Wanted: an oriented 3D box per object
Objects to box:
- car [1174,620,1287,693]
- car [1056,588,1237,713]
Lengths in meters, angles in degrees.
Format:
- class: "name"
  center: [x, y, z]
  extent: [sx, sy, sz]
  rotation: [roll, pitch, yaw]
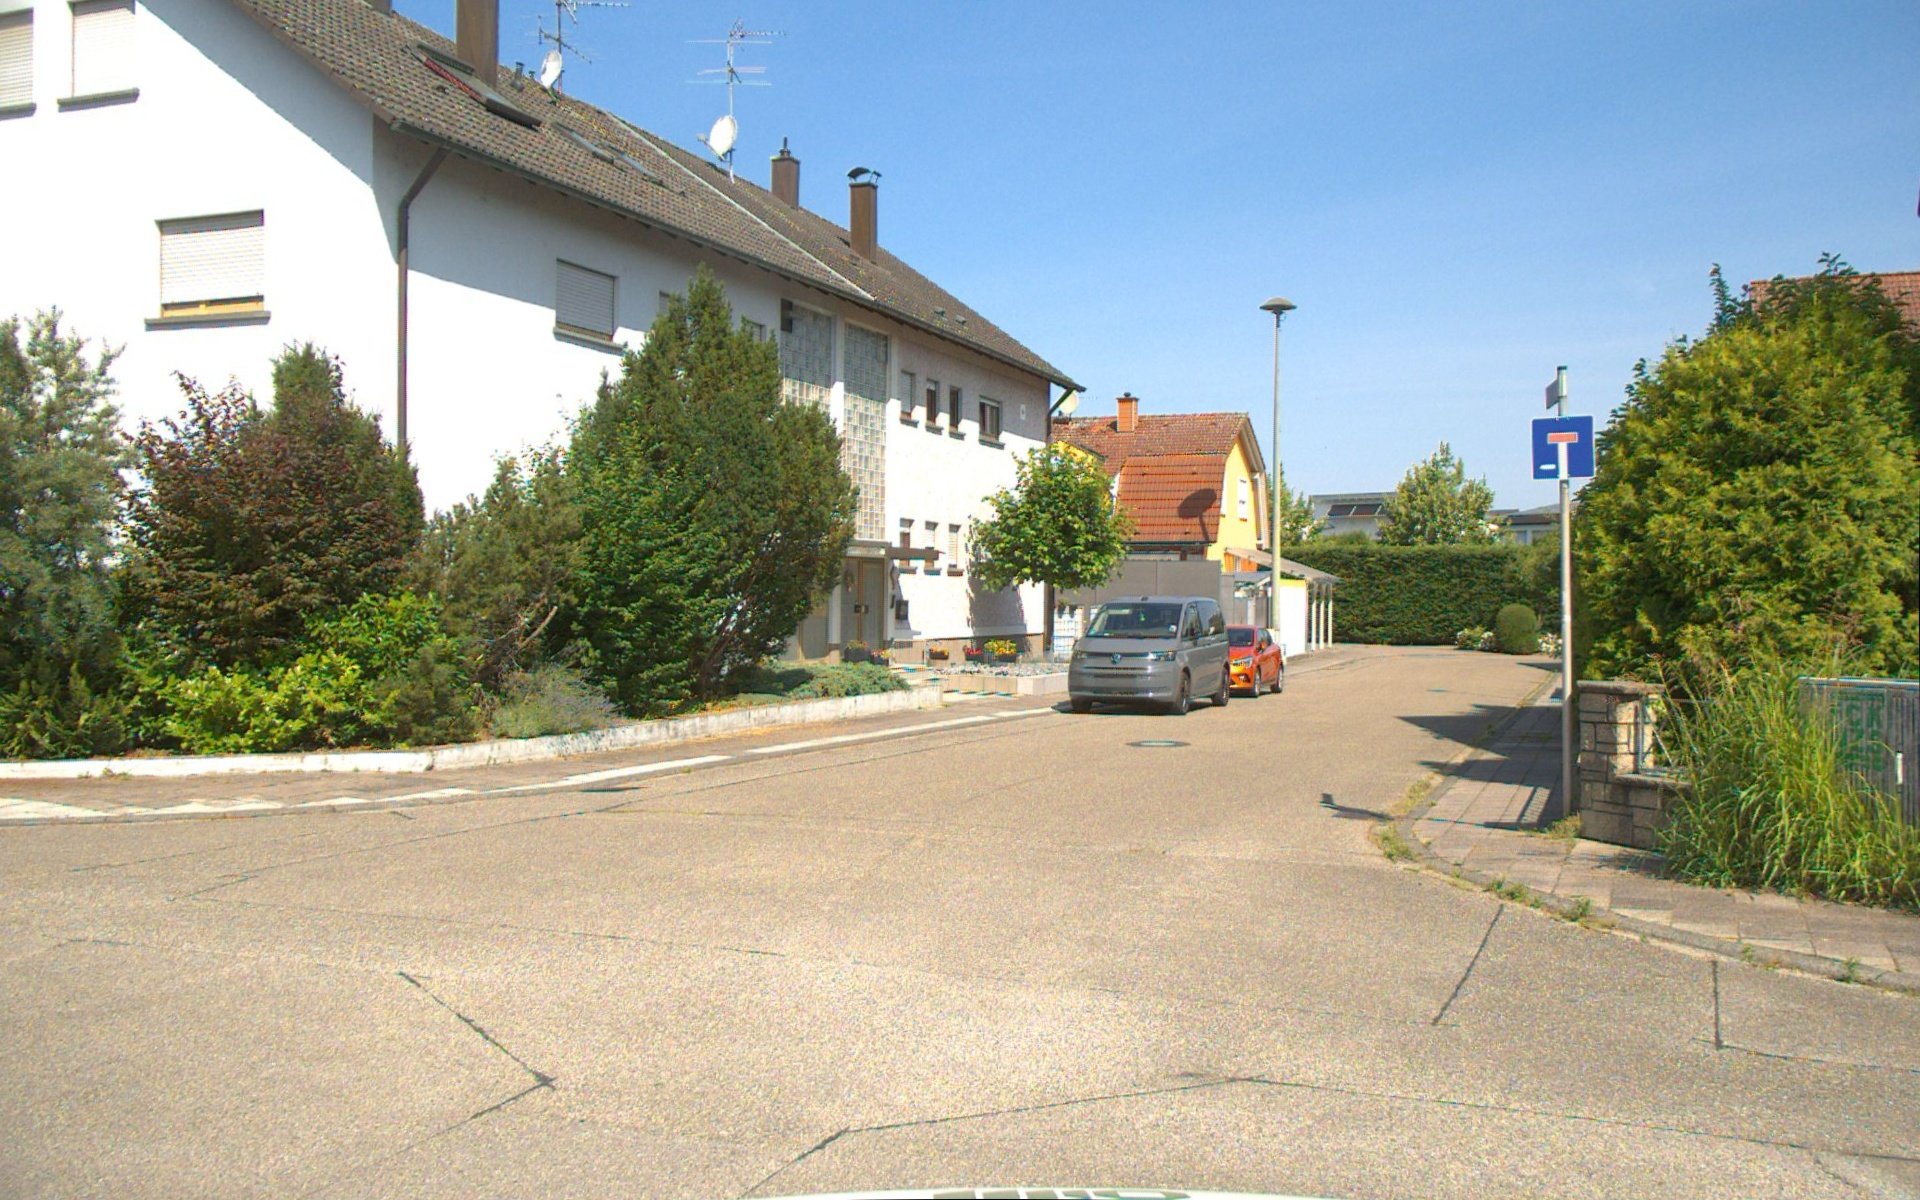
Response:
- class: "car"
  center: [5.647, 1.120, 34.208]
  extent: [1.617, 1.389, 3.779]
  rotation: [0, 0, 20]
- class: "car"
  center: [3.270, 0.779, 28.167]
  extent: [1.863, 1.902, 4.370]
  rotation: [1, 1, 23]
